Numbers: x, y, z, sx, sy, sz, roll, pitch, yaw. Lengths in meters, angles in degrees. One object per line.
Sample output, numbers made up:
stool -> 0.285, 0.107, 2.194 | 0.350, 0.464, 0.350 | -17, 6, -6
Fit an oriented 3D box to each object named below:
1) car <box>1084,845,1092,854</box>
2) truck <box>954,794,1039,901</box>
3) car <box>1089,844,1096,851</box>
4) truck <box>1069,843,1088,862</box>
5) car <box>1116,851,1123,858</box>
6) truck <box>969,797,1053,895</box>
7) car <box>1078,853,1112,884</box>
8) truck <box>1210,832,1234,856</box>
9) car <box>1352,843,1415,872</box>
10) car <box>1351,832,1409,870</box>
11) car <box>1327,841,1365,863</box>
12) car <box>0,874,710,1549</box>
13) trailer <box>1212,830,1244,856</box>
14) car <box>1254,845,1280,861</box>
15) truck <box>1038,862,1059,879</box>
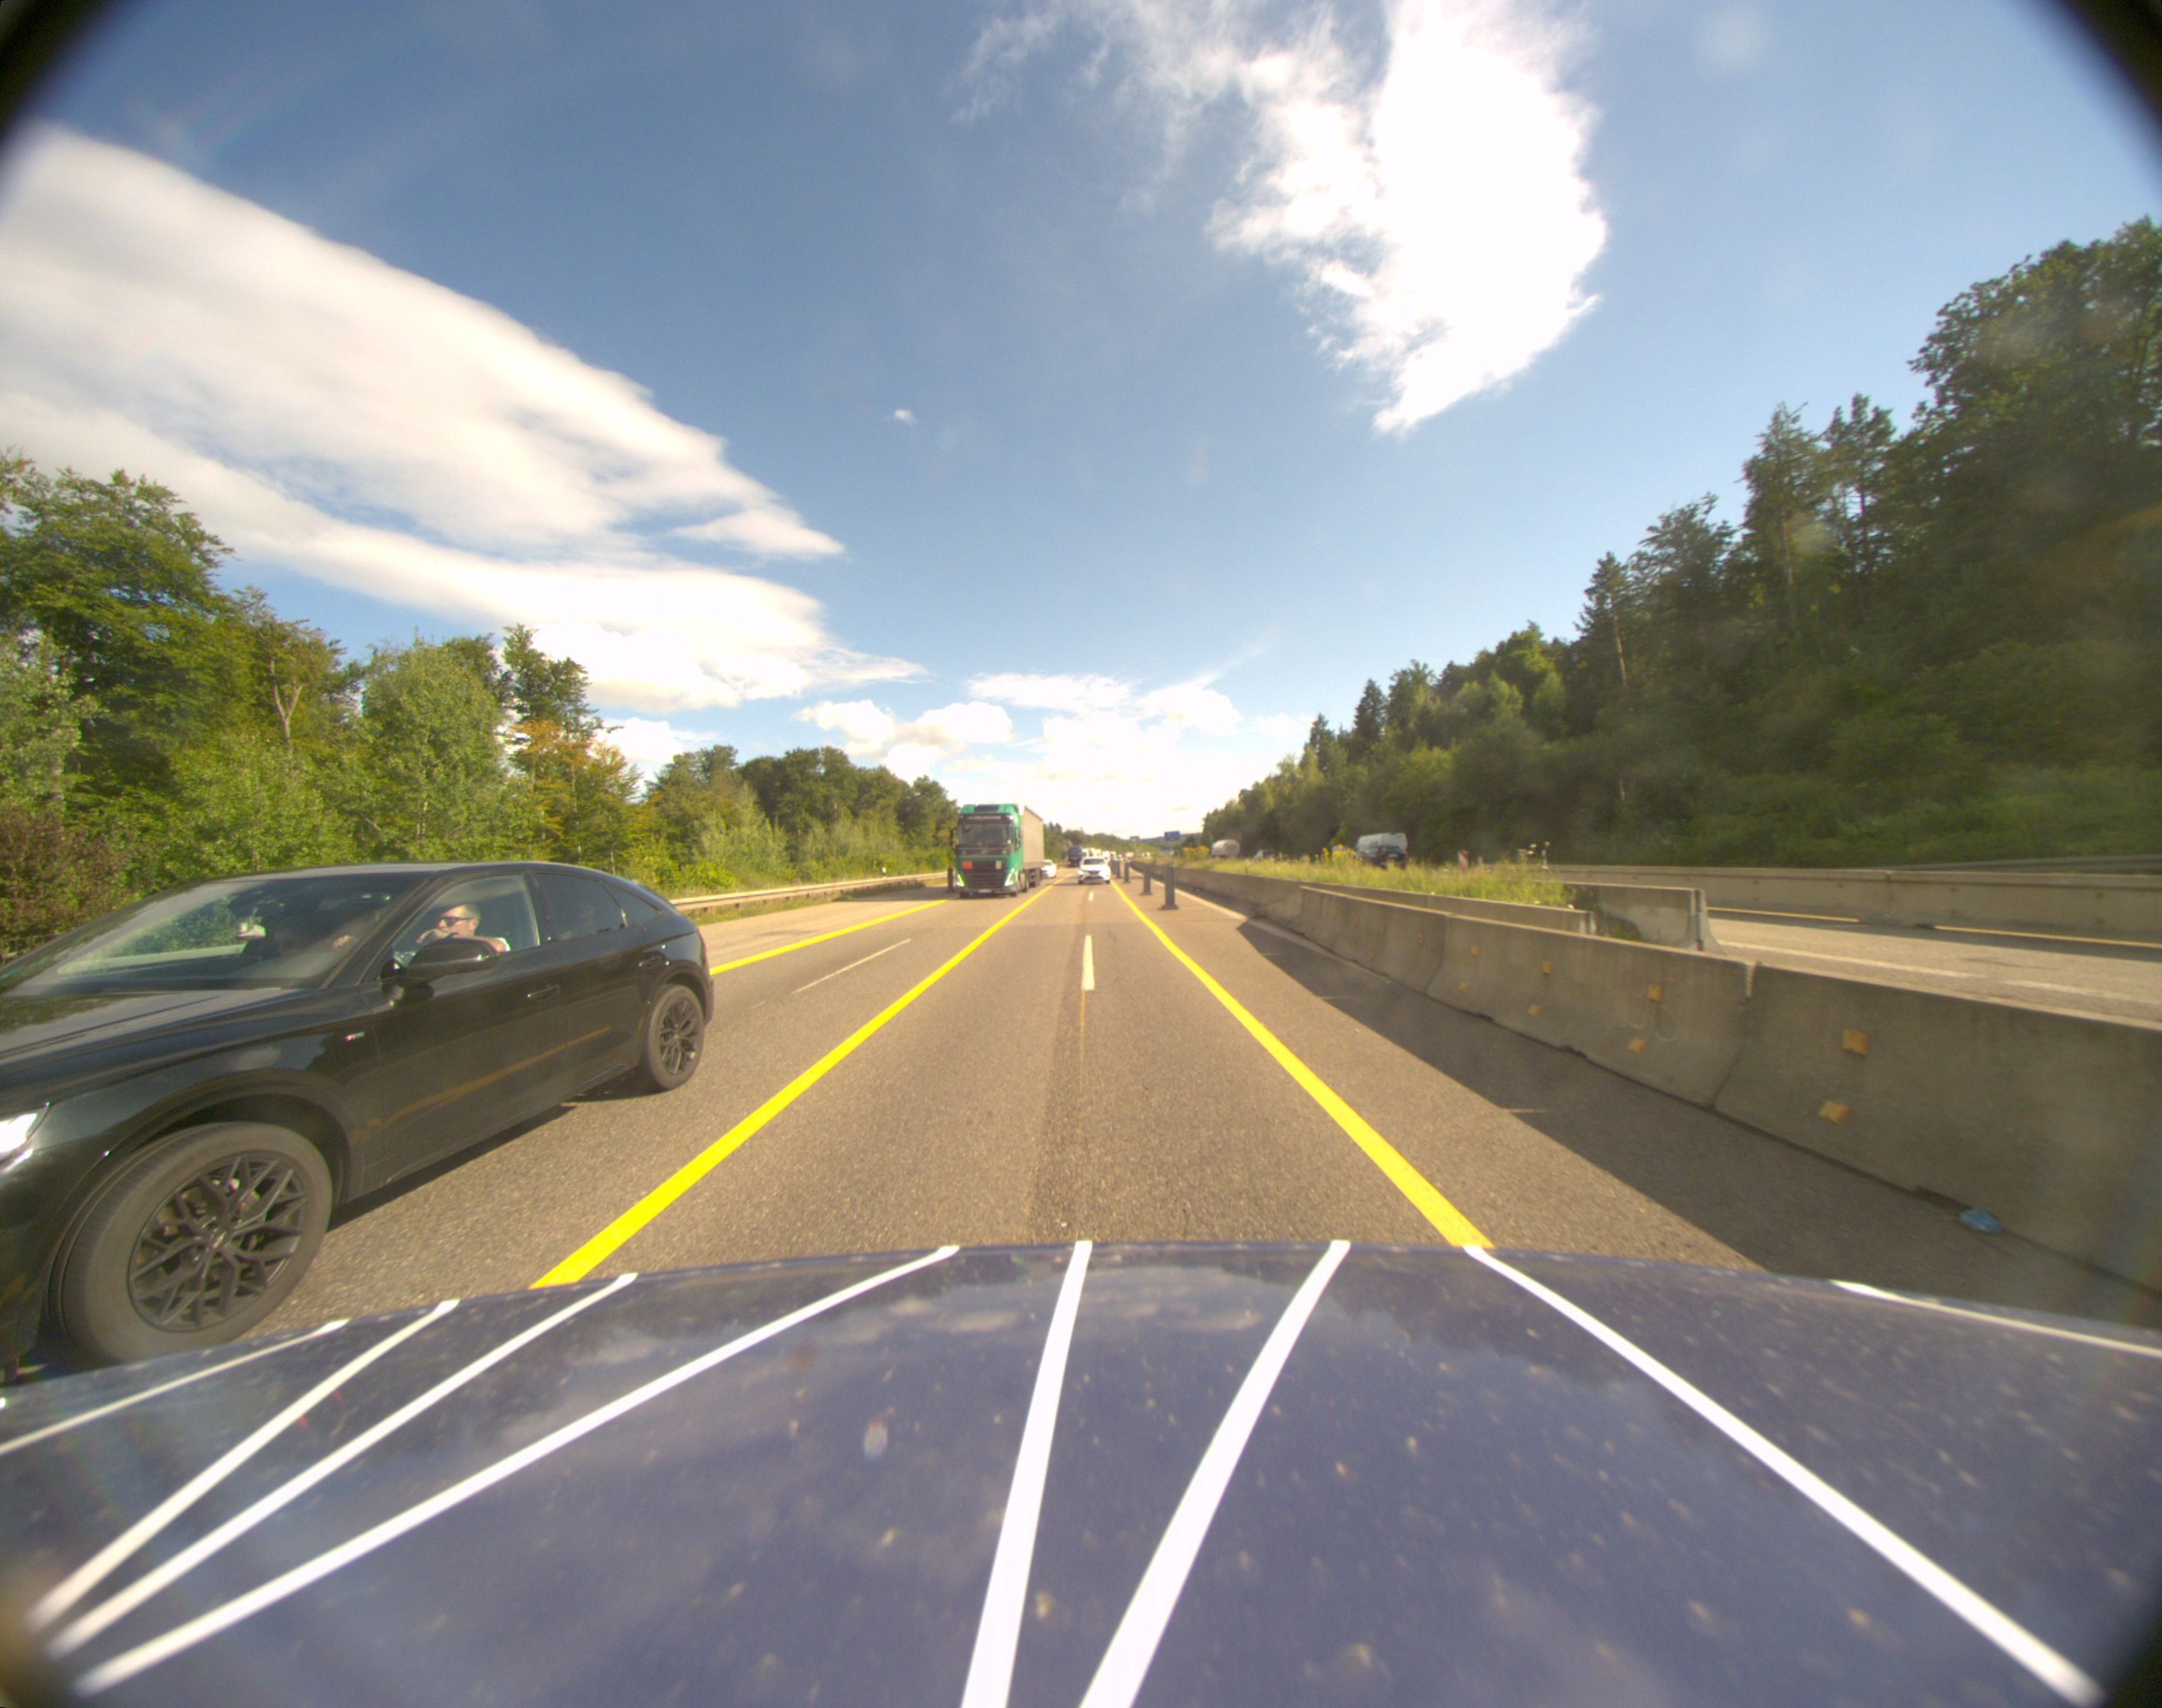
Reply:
car -> 1.521, -1.026, 164.150 | 1.750, 1.787, 4.000 | -2, 1, 2
truck -> -3.496, -0.263, 33.058 | 2.527, 4.075, 6.856 | -2, 1, 2
car -> 2.878, -1.561, 187.932 | 1.750, 1.787, 4.000 | -2, 1, 2
truck -> -0.399, -0.308, 133.446 | 2.576, 3.167, 6.803 | -2, 1, 4
car -> 11.716, 0.087, 231.393 | 1.998, 2.002, 4.001 | -2, 1, 4
truck -> -3.257, -0.312, 39.581 | 2.470, 4.119, 14.212 | -2, 0, 2
car -> 0.829, 0.781, 43.323 | 1.782, 1.593, 4.018 | -2, 1, 2
truck -> 21.458, -1.521, 115.592 | 2.791, 3.469, 4.939 | -2, 1, 2
car -> 18.208, 0.171, 45.958 | 1.963, 1.579, 4.482 | -2, 0, 1
car -> 22.874, -0.260, 58.420 | 2.033, 2.669, 6.523 | -2, 1, 2
car -> 23.829, -0.166, 68.611 | 1.865, 1.843, 4.762 | -2, 0, 2
car -> -3.708, 0.999, 3.603 | 1.782, 1.593, 4.293 | -2, 0, -1
trailer -> 21.160, -1.506, 110.050 | 2.809, 3.469, 11.113 | -2, 0, 2
car -> 18.961, -0.114, 77.647 | 1.782, 1.593, 4.018 | -2, 1, 2
truck -> -2.558, 1.299, 60.499 | 1.468, 1.215, 3.087 | -2, 1, 0
